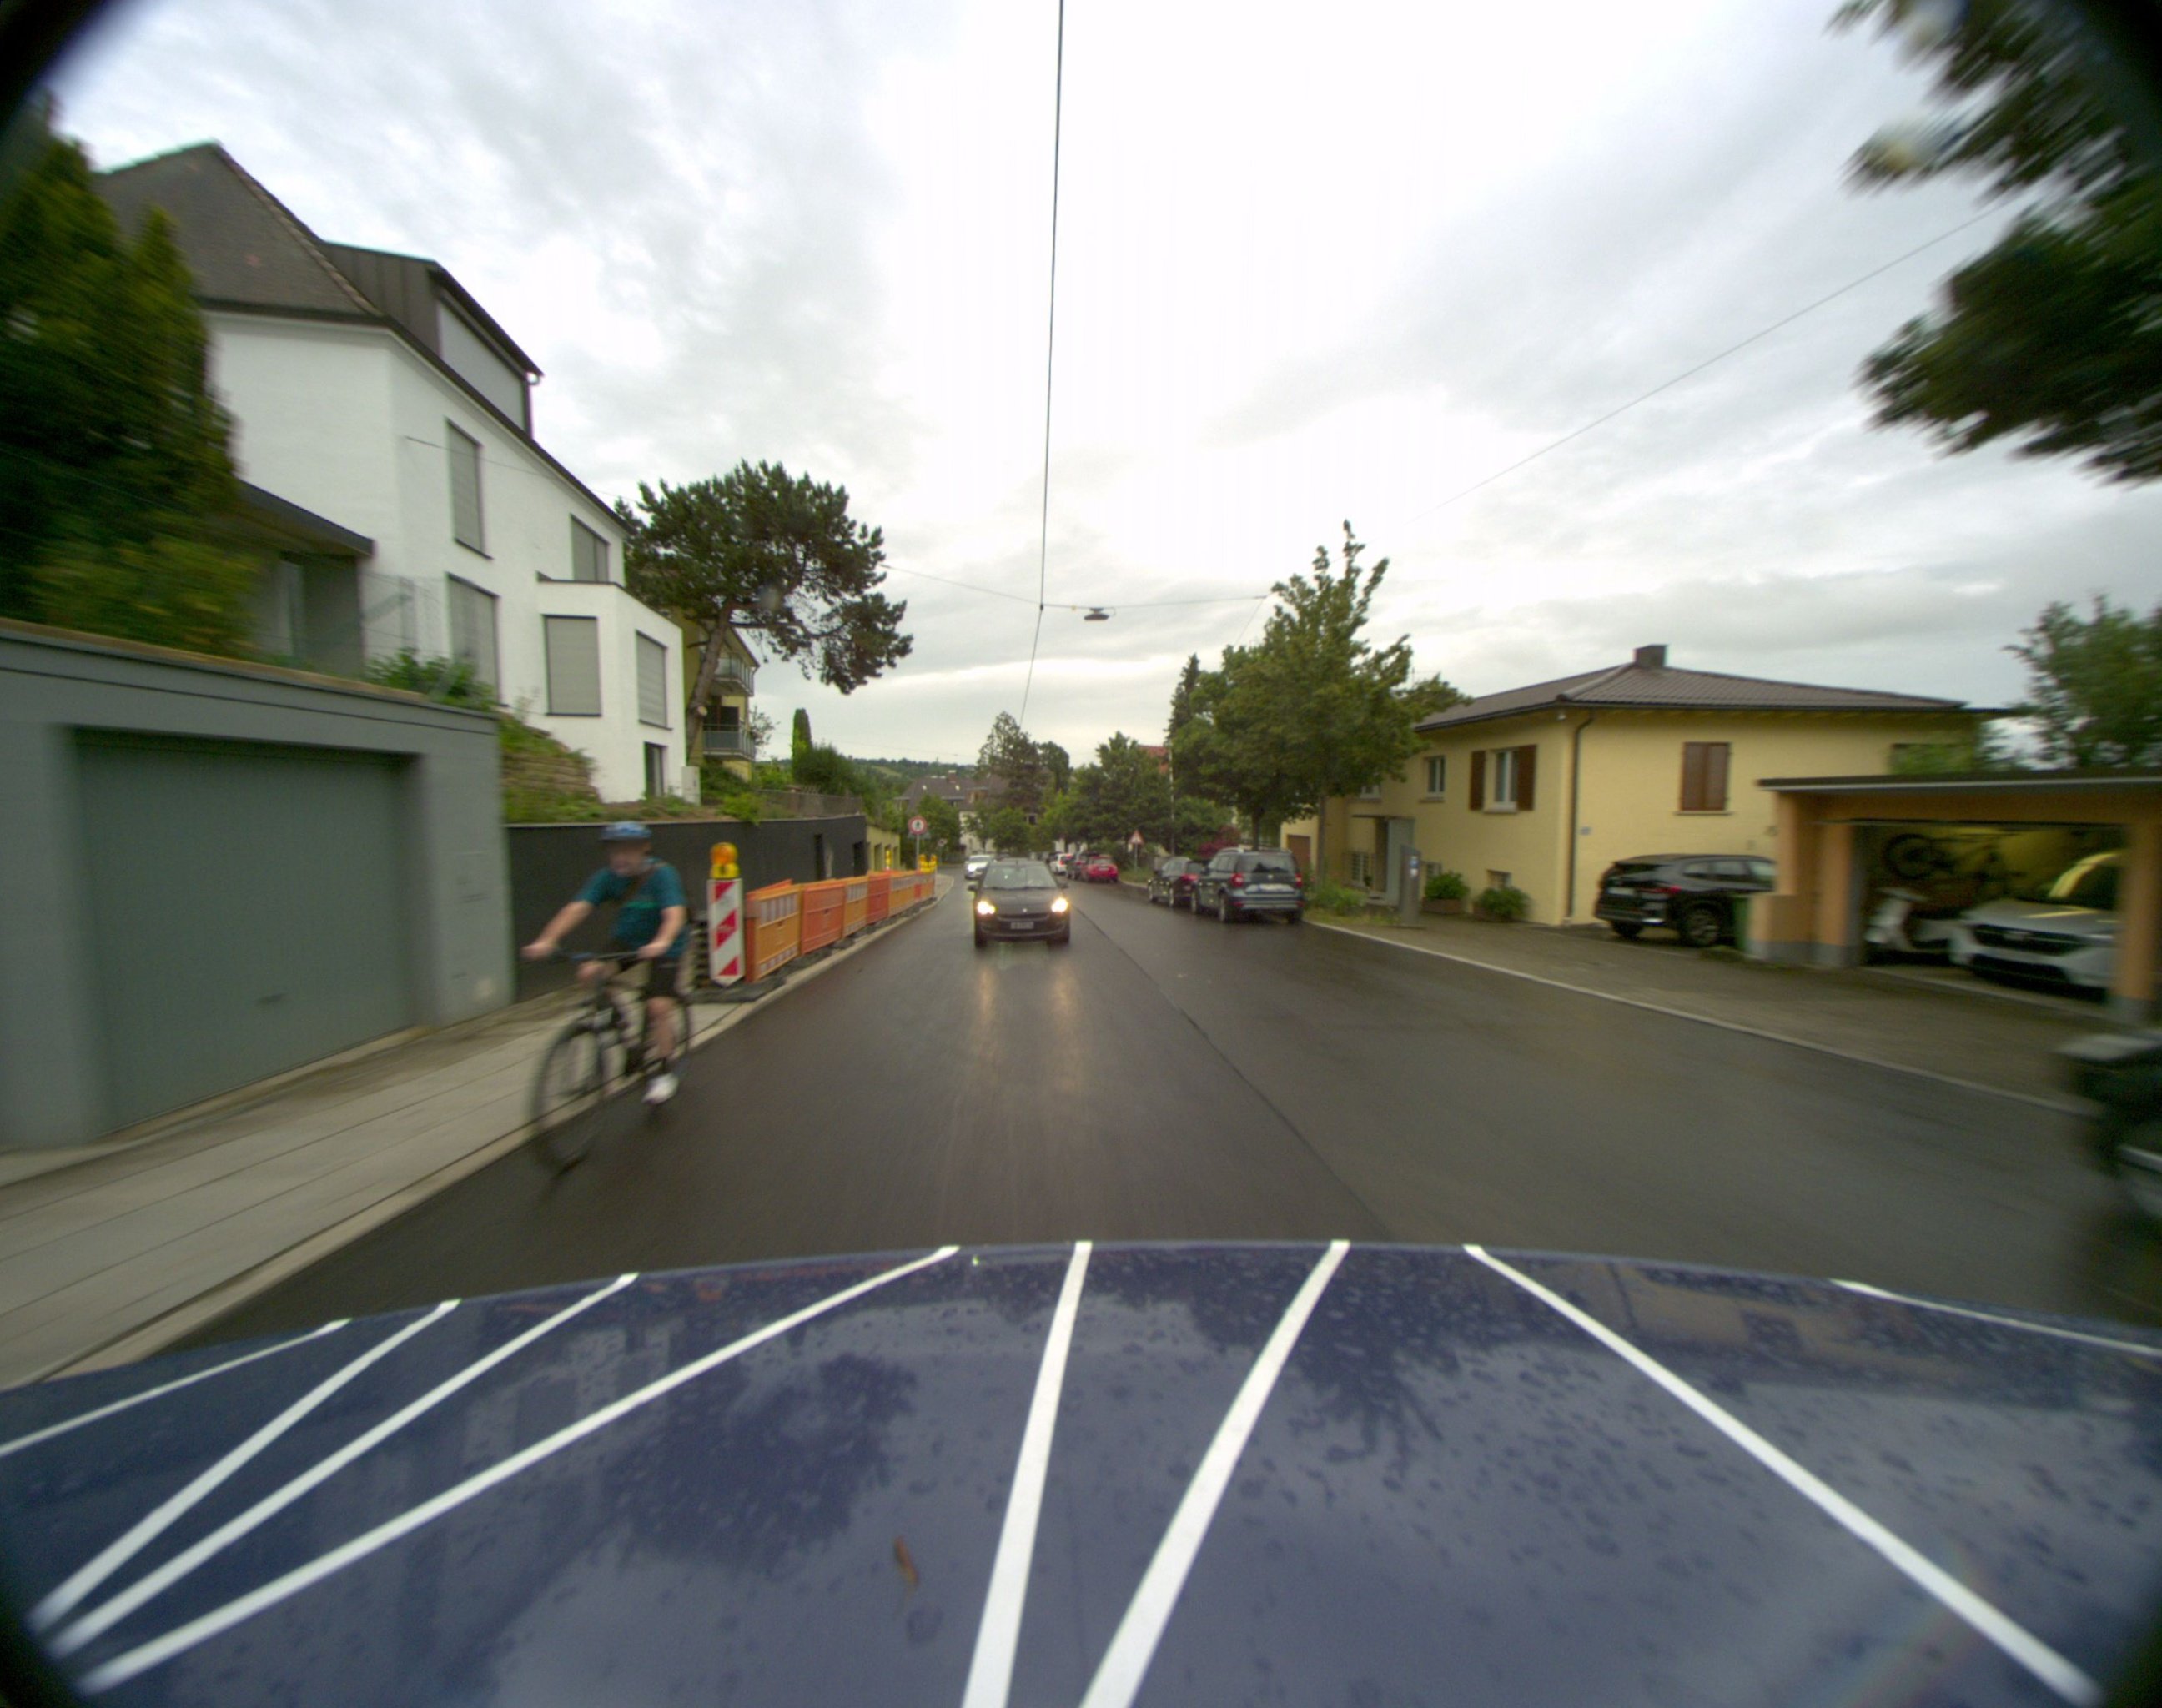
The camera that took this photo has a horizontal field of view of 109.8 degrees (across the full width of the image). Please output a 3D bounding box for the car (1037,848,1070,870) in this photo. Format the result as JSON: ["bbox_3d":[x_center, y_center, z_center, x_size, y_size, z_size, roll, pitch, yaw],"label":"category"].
[{"bbox_3d":[-2.203,0.354,60.339,1.740,1.537,4.204,-3,2,-14],"label":"car"}]

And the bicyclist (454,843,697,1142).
[{"bbox_3d":[-2.726,0.683,4.214,0.727,1.464,0.886,-2,1,-3],"label":"bicyclist"}]

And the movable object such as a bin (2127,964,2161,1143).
[{"bbox_3d":[6.563,1.168,4.163,0.685,1.005,0.707,3,0,-9],"label":"movable object such as a bin"}]

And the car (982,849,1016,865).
[{"bbox_3d":[-8.147,0.289,75.620,1.678,1.458,3.884,-3,2,-34],"label":"car"}]

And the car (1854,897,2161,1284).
[{"bbox_3d":[5.145,0.966,1.914,1.773,1.428,4.345,0,1,-4],"label":"car"}]

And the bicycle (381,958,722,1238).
[{"bbox_3d":[-2.712,1.183,4.173,0.732,0.959,1.670,-2,1,-3],"label":"bicycle"}]

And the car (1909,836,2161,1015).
[{"bbox_3d":[13.439,0.783,9.362,4.392,1.881,1.846,0,5,-2],"label":"car"}]

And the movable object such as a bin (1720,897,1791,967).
[{"bbox_3d":[10.553,1.207,11.903,0.588,1.018,0.585,-2,1,-7],"label":"movable object such as a bin"}]

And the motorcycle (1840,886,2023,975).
[{"bbox_3d":[12.036,1.075,10.786,1.906,1.161,0.577,1,4,-2],"label":"motorcycle"}]

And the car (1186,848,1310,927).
[{"bbox_3d":[3.839,0.709,18.196,1.773,1.625,4.107,-1,0,-4],"label":"car"}]

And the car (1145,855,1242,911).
[{"bbox_3d":[3.302,0.808,23.320,1.774,1.526,4.602,1,0,-7],"label":"car"}]

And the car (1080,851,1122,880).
[{"bbox_3d":[1.037,0.593,41.910,1.687,1.463,3.862,-1,1,-8],"label":"car"}]

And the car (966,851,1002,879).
[{"bbox_3d":[-6.629,0.682,51.718,2.002,1.699,4.568,-2,1,-12],"label":"car"}]

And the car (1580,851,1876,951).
[{"bbox_3d":[11.914,0.810,14.167,4.065,1.637,1.862,-1,1,-4],"label":"car"}]

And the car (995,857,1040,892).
[{"bbox_3d":[-3.075,0.928,35.949,1.844,1.395,4.067,-2,1,-8],"label":"car"}]

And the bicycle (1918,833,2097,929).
[{"bbox_3d":[13.416,0.378,11.028,1.763,0.932,0.626,15,0,-4],"label":"bicycle"}]

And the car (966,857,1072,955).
[{"bbox_3d":[-1.268,0.856,14.816,1.675,1.458,4.712,-2,1,-6],"label":"car"}]

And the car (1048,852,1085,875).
[{"bbox_3d":[-1.064,0.665,55.077,1.740,1.458,3.994,-3,1,-14],"label":"car"}]

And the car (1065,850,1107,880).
[{"bbox_3d":[0.242,0.642,46.252,1.807,1.659,4.421,-1,1,-10],"label":"car"}]
